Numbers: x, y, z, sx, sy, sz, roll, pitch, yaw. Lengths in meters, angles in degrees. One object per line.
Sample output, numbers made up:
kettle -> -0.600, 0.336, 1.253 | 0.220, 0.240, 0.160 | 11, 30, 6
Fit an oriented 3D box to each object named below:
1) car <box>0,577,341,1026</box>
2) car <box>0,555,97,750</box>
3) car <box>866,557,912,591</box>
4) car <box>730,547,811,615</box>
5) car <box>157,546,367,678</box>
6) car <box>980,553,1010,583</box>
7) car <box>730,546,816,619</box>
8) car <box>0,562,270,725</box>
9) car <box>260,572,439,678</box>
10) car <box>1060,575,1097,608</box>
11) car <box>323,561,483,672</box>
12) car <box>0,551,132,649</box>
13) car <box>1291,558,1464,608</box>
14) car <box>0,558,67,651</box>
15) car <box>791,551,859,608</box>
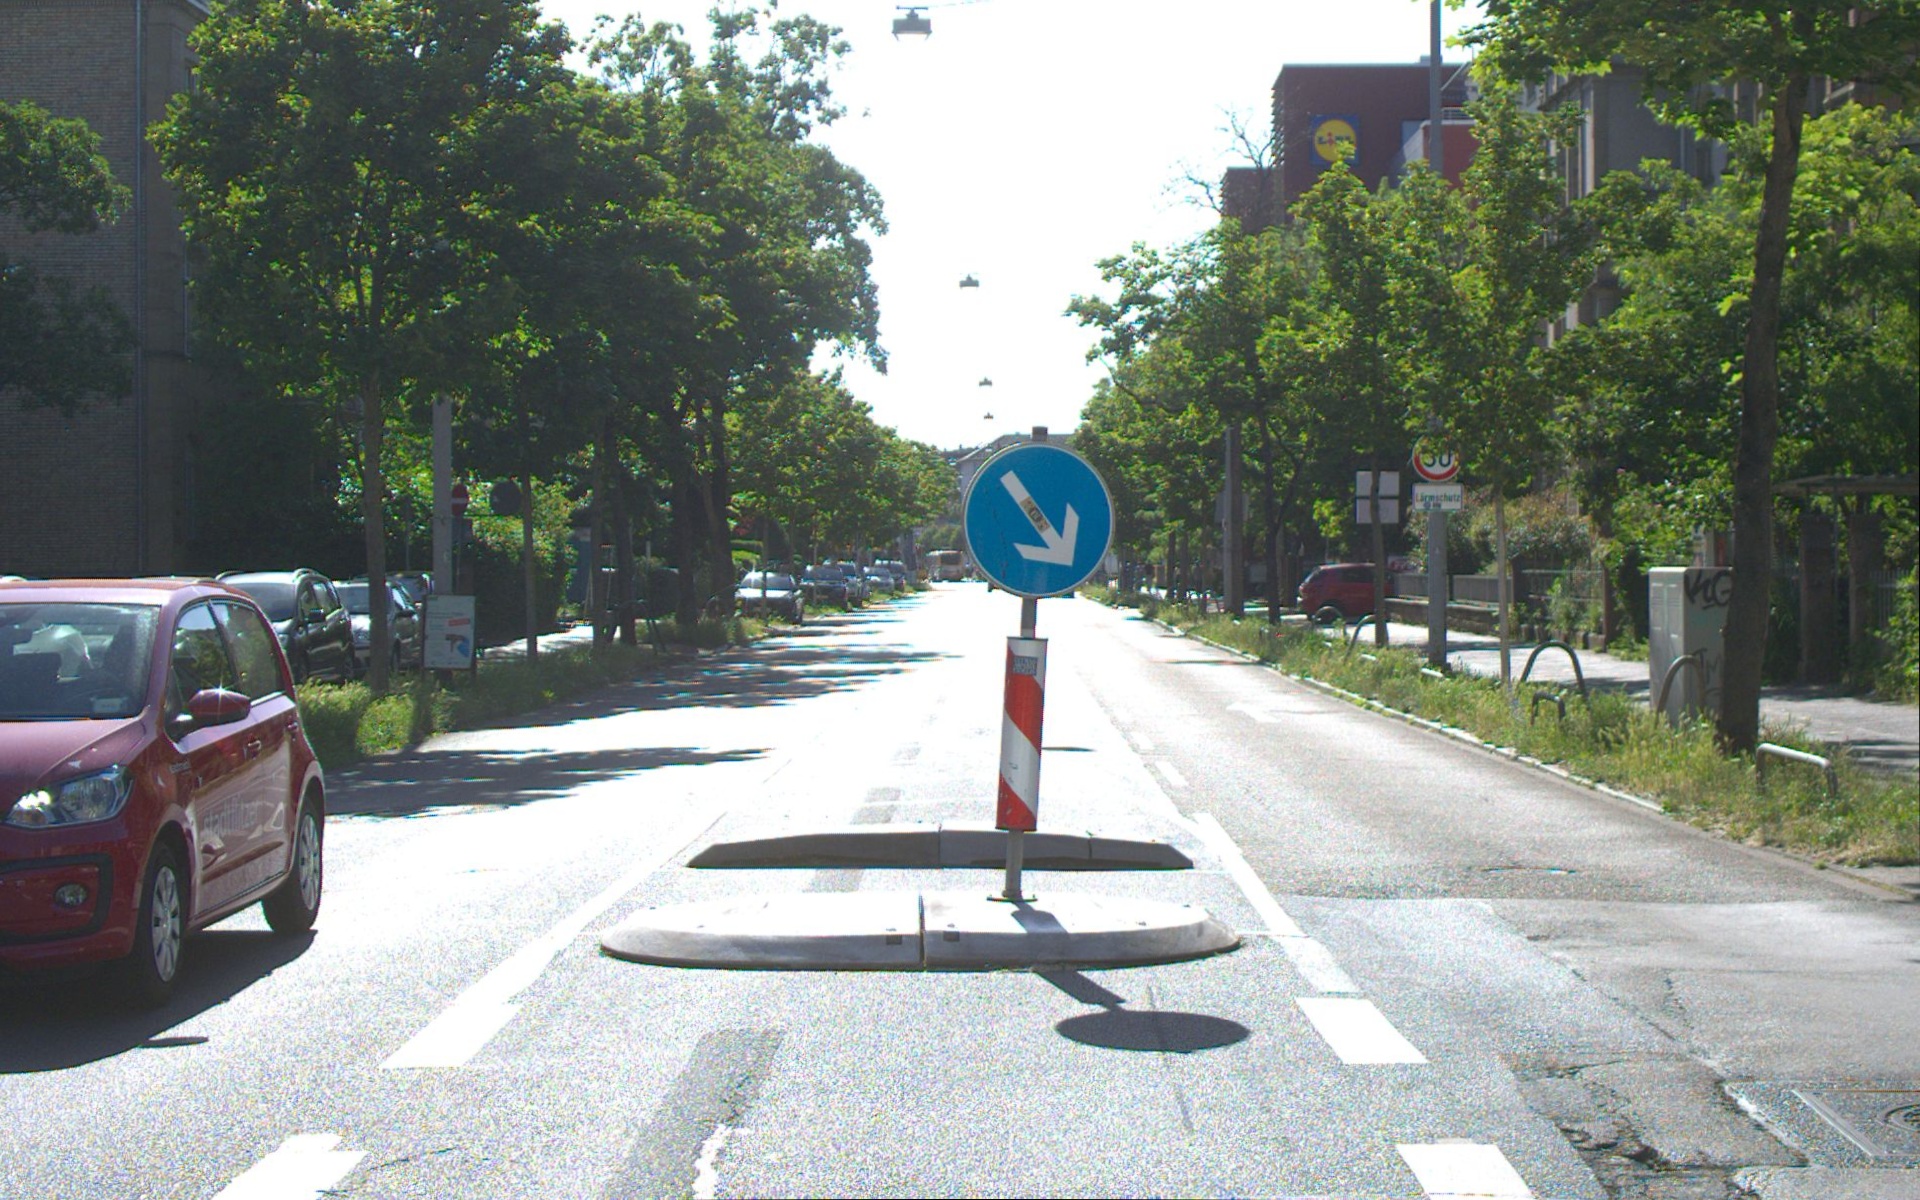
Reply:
car -> -3.481, 0.647, 12.884 | 1.651, 1.423, 3.507 | -1, 1, 0
car -> -9.124, 0.476, 30.118 | 1.888, 1.656, 4.530 | -2, 1, 0
car -> -3.599, -1.336, 174.790 | 1.994, 1.690, 4.000 | -1, 1, 3
car -> -5.688, -0.593, 103.751 | 1.994, 2.007, 4.205 | -1, 1, 3
car -> -8.676, 0.112, 43.030 | 1.751, 1.548, 4.000 | -1, 1, 1
car -> 2.175, -1.987, 212.367 | 1.758, 1.777, 4.000 | -1, 1, 2
car -> -5.311, -0.528, 98.138 | 1.994, 2.007, 4.205 | -1, 1, 3
car -> -8.840, 0.425, 36.816 | 1.863, 1.582, 4.000 | -2, 1, 3
car -> -8.526, 0.322, 48.332 | 1.754, 1.393, 4.000 | -1, 1, 1
car -> 6.266, -0.445, 182.385 | 1.951, 1.702, 4.000 | -1, 1, 2
car -> -8.545, 0.225, 53.043 | 1.762, 1.640, 4.000 | 0, 1, 1
car -> -17.489, -0.009, 63.471 | 3.986, 1.763, 1.886 | 0, 1, -2
car -> 10.300, -0.431, 85.017 | 3.986, 1.219, 1.803 | 0, 1, -3
car -> -18.065, 0.078, 61.039 | 3.986, 1.624, 1.688 | 0, 1, -2
car -> -4.893, -0.781, 125.109 | 2.061, 2.007, 4.629 | -1, 1, 3
